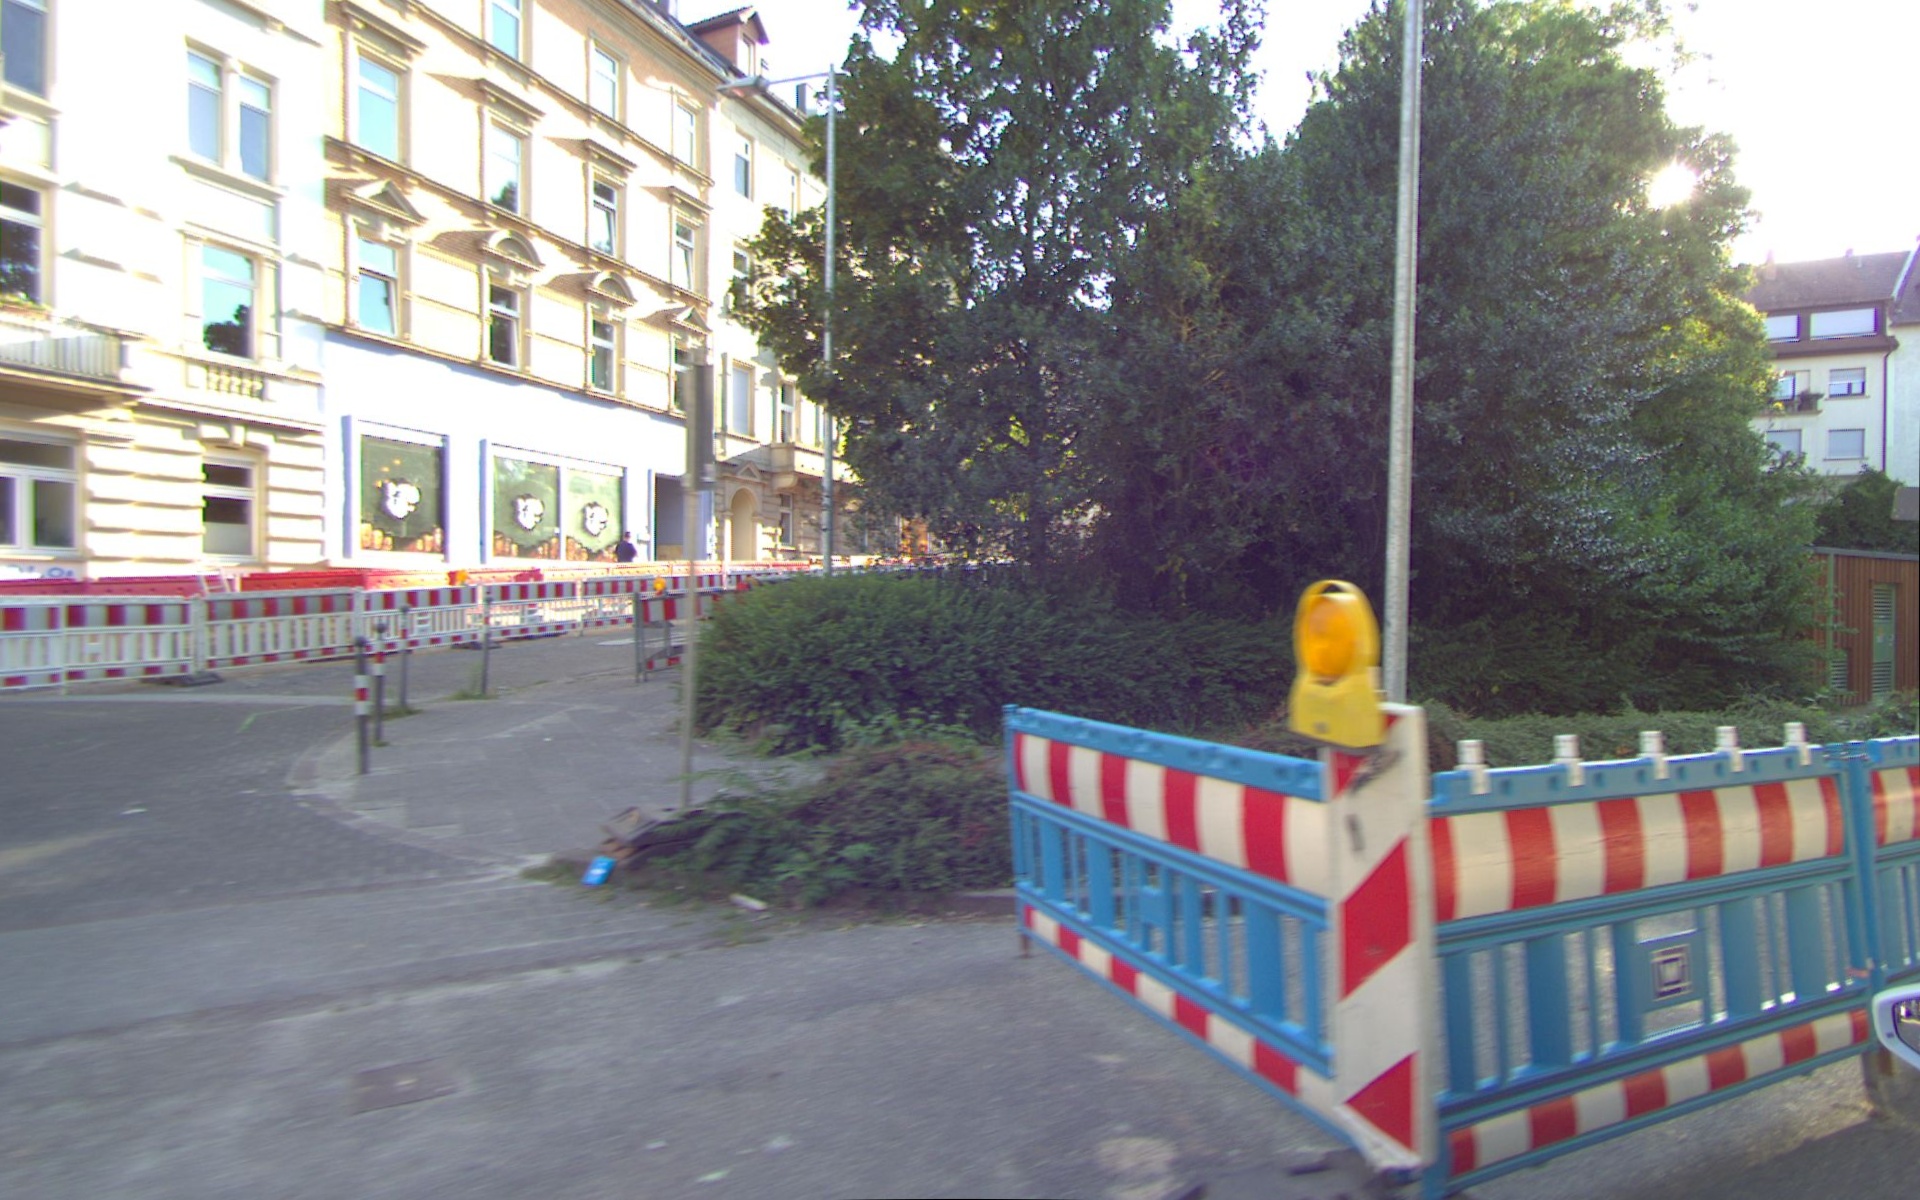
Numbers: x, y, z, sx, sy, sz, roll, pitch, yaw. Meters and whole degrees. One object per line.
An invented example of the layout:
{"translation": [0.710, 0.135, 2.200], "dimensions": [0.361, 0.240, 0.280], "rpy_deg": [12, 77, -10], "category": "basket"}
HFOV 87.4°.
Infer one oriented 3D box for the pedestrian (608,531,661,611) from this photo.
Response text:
{"translation": [-8.453, -0.741, 26.109], "dimensions": [0.925, 2.041, 0.958], "rpy_deg": [1, 1, 26], "category": "pedestrian"}
